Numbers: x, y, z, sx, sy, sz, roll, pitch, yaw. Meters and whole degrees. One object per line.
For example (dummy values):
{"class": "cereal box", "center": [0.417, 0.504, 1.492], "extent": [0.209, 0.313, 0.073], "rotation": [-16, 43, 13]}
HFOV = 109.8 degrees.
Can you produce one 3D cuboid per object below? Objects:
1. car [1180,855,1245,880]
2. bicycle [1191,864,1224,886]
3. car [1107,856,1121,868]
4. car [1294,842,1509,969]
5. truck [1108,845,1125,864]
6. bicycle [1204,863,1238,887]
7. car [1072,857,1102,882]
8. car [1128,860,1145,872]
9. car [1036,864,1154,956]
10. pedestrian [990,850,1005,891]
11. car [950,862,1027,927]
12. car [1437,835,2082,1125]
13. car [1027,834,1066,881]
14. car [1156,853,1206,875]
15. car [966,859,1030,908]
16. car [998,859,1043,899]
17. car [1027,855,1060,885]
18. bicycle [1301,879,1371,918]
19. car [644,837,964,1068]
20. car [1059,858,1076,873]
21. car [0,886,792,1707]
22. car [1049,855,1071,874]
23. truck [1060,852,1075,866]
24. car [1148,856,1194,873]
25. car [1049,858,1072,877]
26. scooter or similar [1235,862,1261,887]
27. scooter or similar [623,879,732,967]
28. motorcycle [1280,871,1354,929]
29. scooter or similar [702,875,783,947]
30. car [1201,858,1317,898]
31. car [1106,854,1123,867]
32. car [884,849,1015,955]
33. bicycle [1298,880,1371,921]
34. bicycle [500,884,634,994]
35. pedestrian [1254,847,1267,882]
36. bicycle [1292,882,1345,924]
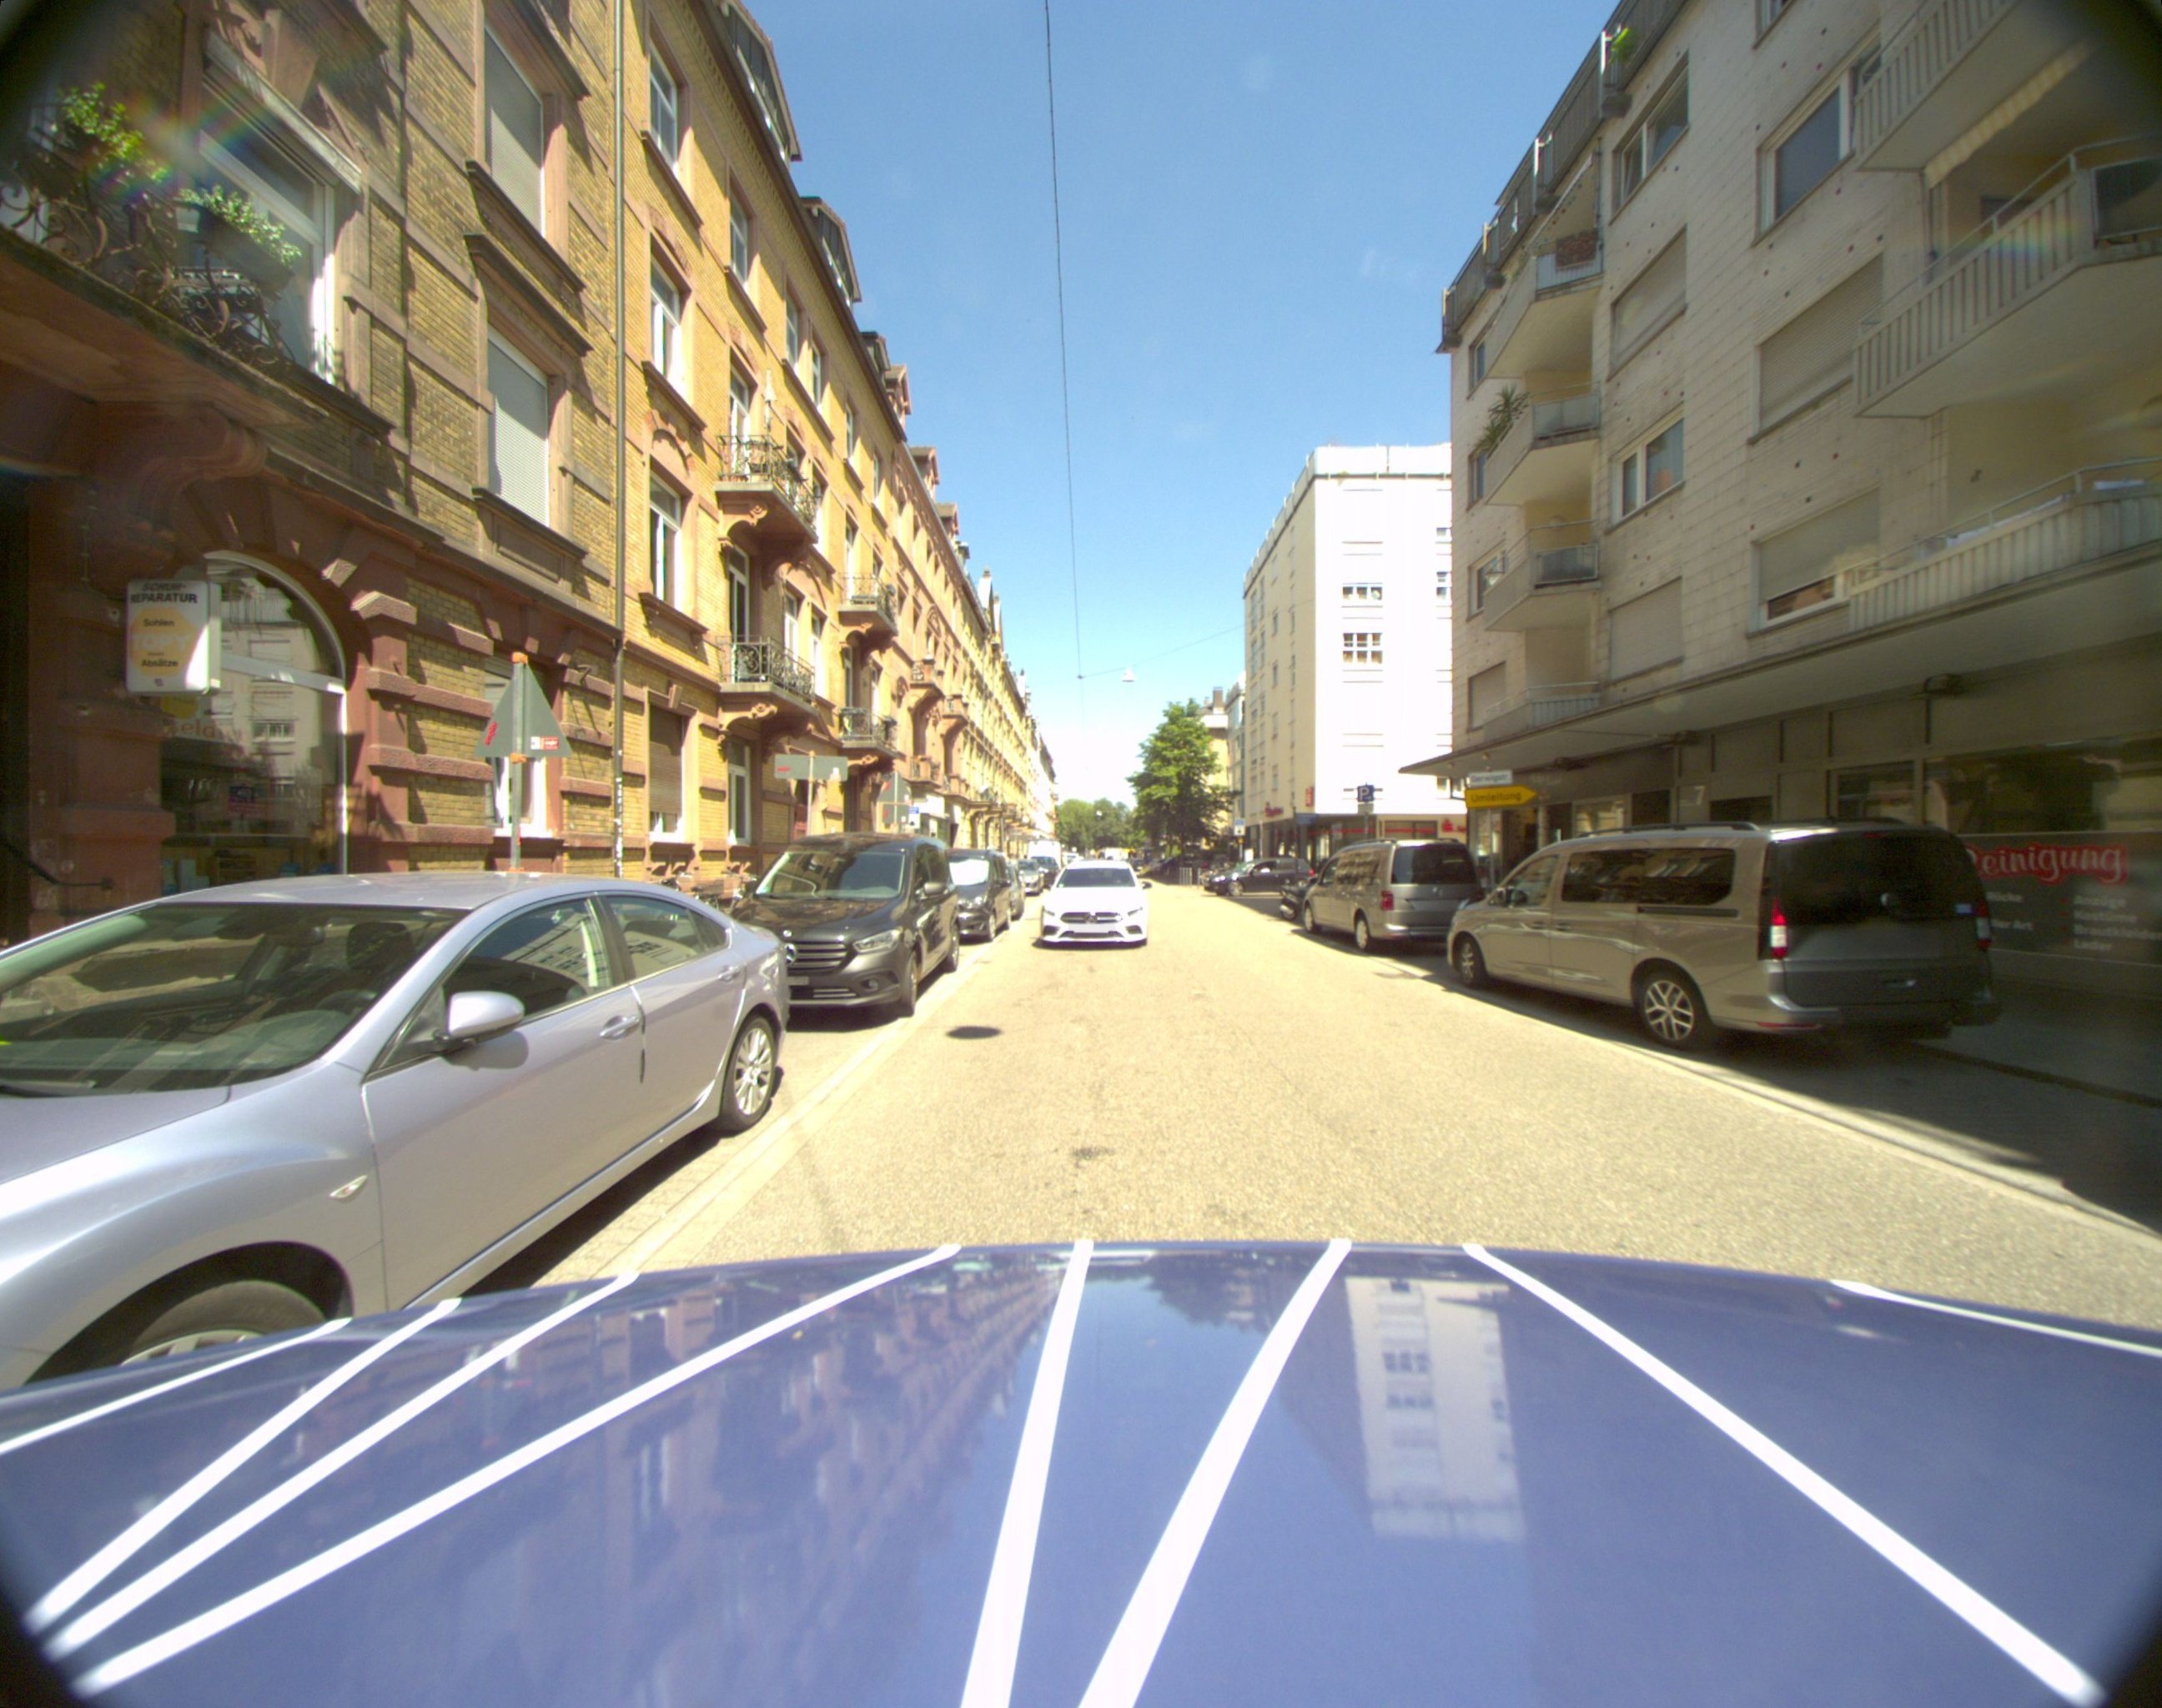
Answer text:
{"class": "car", "center": [8.375, 0.847, 48.743], "extent": [3.885, 1.520, 1.652], "rotation": [0, 0, 0]}
{"class": "bicycle", "center": [6.525, 1.084, 39.256], "extent": [1.608, 1.084, 0.371], "rotation": [-2, 0, 6]}
{"class": "car", "center": [4.912, 1.210, 113.551], "extent": [1.998, 1.674, 4.000], "rotation": [-2, 0, 1]}
{"class": "car", "center": [5.368, 0.768, 13.555], "extent": [1.793, 1.818, 4.900], "rotation": [-1, 0, 1]}
{"class": "truck", "center": [6.293, 0.026, 135.271], "extent": [2.762, 3.270, 4.959], "rotation": [0, 0, 5]}
{"class": "bicycle", "center": [6.944, 1.040, 37.695], "extent": [1.608, 1.084, 0.371], "rotation": [-2, 0, 6]}
{"class": "car", "center": [0.420, 0.938, 48.233], "extent": [1.780, 1.460, 4.000], "rotation": [-2, 0, 1]}
{"class": "car", "center": [7.266, 1.537, 99.689], "extent": [1.998, 1.505, 4.000], "rotation": [-2, 0, 1]}
{"class": "car", "center": [0.420, 0.922, 14.216], "extent": [1.813, 1.417, 4.244], "rotation": [0, 0, 6]}
{"class": "pedestrian", "center": [-3.843, 0.771, 35.076], "extent": [0.635, 1.903, 0.370], "rotation": [0, 0, 1]}
{"class": "car", "center": [-2.336, 0.966, 19.834], "extent": [1.766, 1.441, 3.903], "rotation": [-1, 0, -5]}
{"class": "car", "center": [5.445, 0.808, 7.194], "extent": [1.793, 1.800, 4.698], "rotation": [-1, 0, -2]}
{"class": "car", "center": [-2.060, 0.199, 46.950], "extent": [2.067, 2.687, 5.039], "rotation": [-2, 0, 1]}
{"class": "car", "center": [8.053, 0.831, 61.313], "extent": [3.885, 1.737, 1.652], "rotation": [0, 0, 0]}
{"class": "car", "center": [-2.740, 0.943, 25.829], "extent": [1.830, 1.452, 3.999], "rotation": [-1, 0, -2]}
{"class": "car", "center": [-2.358, 0.942, 30.396], "extent": [1.603, 1.453, 3.689], "rotation": [-1, 0, -2]}
{"class": "car", "center": [-2.034, 0.833, 41.370], "extent": [1.682, 1.528, 3.999], "rotation": [-1, 0, -2]}
{"class": "bicycle", "center": [6.683, 1.155, 19.944], "extent": [1.706, 0.951, 0.411], "rotation": [-1, 1, 43]}
{"class": "car", "center": [-2.466, 0.757, 8.020], "extent": [1.829, 1.756, 4.337], "rotation": [1, 0, -1]}
{"class": "car", "center": [-1.462, 1.245, 81.035], "extent": [1.682, 1.528, 3.999], "rotation": [-1, 0, -2]}
{"class": "car", "center": [-2.704, 0.936, 2.642], "extent": [1.730, 1.424, 4.485], "rotation": [1, 0, -1]}
{"class": "car", "center": [-1.759, 0.851, 62.534], "extent": [1.682, 1.528, 3.999], "rotation": [-1, 0, -2]}
{"class": "truck", "center": [-1.998, 0.708, 110.095], "extent": [1.998, 2.002, 4.902], "rotation": [0, 0, 1]}
{"class": "car", "center": [7.908, 0.946, 66.737], "extent": [3.885, 1.487, 1.652], "rotation": [0, 0, 0]}
{"class": "car", "center": [-1.495, 0.949, 54.569], "extent": [1.533, 1.293, 3.686], "rotation": [-1, 0, -2]}
{"class": "scooter or similar", "center": [7.886, 0.985, 35.933], "extent": [1.192, 1.160, 0.289], "rotation": [0, 0, -1]}
{"class": "scooter or similar", "center": [-6.030, 0.986, 11.505], "extent": [0.477, 1.146, 2.149], "rotation": [-1, 0, 1]}
{"class": "motorcycle", "center": [5.415, 1.043, 17.493], "extent": [1.552, 1.276, 0.394], "rotation": [-1, 1, 33]}
{"class": "scooter or similar", "center": [-6.044, 0.982, 13.703], "extent": [0.477, 1.146, 2.112], "rotation": [-1, 0, 1]}
{"class": "car", "center": [6.686, 0.878, 28.793], "extent": [3.891, 1.417, 1.814], "rotation": [0, 0, -7]}
{"class": "car", "center": [4.258, 0.818, 96.423], "extent": [1.998, 1.505, 4.000], "rotation": [-2, 0, 1]}
{"class": "car", "center": [-2.329, 0.782, 14.448], "extent": [1.706, 1.723, 4.000], "rotation": [-1, 0, 1]}
{"class": "bicycle", "center": [6.303, 1.146, 18.957], "extent": [1.706, 0.951, 0.411], "rotation": [-1, 1, 43]}
{"class": "bicycle", "center": [-5.954, 0.931, 8.917], "extent": [0.354, 1.097, 1.755], "rotation": [0, 0, 1]}
{"class": "pedestrian", "center": [10.900, 0.629, 46.186], "extent": [0.608, 2.113, 0.496], "rotation": [0, 0, 36]}
{"class": "bicycle", "center": [5.772, 1.183, 18.496], "extent": [1.210, 0.951, 0.338], "rotation": [-1, 1, 43]}
